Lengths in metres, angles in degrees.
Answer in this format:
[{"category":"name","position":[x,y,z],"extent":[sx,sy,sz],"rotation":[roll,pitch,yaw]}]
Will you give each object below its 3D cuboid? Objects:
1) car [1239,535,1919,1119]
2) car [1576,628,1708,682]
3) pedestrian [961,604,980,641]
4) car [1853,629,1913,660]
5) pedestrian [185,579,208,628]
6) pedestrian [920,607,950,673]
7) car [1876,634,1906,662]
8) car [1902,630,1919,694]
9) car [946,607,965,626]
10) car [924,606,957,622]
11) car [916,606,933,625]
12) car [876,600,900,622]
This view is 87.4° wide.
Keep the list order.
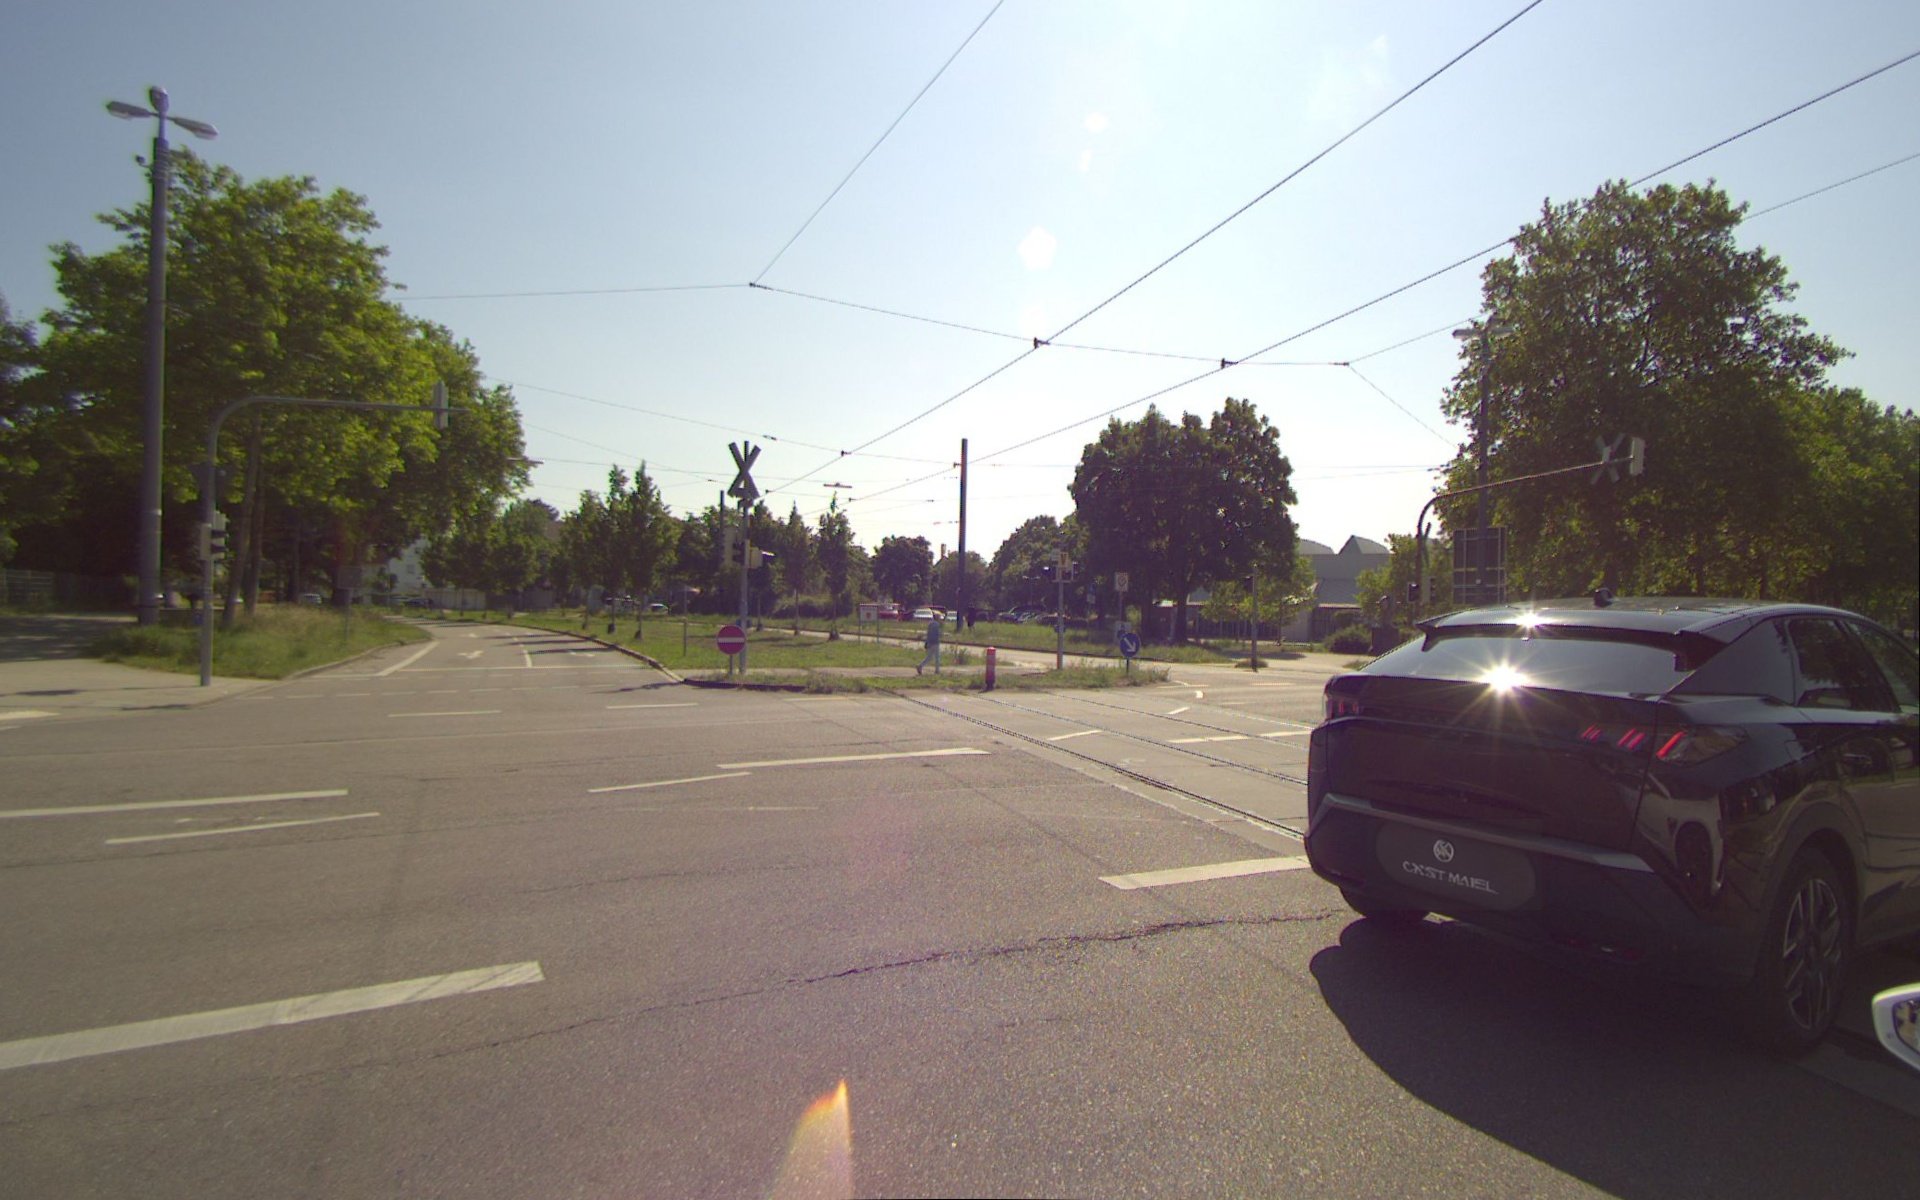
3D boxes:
[{"category":"car","position":[3.634,0.745,4.916],"extent":[4.386,1.719,1.862],"rotation":[3,-1,-32]},{"category":"car","position":[20.873,1.644,30.702],"extent":[4.611,1.528,1.684],"rotation":[1,-1,-33]},{"category":"pedestrian","position":[0.567,1.248,55.919],"extent":[0.784,2.040,0.708],"rotation":[1,0,41]},{"category":"car","position":[49.995,2.397,54.359],"extent":[4.393,1.610,1.696],"rotation":[1,-2,-38]},{"category":"pedestrian","position":[-33.224,0.165,43.712],"extent":[0.747,2.118,0.612],"rotation":[1,0,-36]},{"category":"pedestrian","position":[-0.608,0.968,24.521],"extent":[0.657,1.582,0.365],"rotation":[1,0,-14]},{"category":"car","position":[89.873,4.600,97.004],"extent":[2.038,2.648,7.178],"rotation":[0,-2,42]},{"category":"car","position":[25.080,1.529,24.621],"extent":[4.078,1.528,1.687],"rotation":[1,0,-28]},{"category":"car","position":[-0.397,1.347,82.826],"extent":[1.420,1.466,3.340],"rotation":[2,0,-2]},{"category":"car","position":[-2.349,1.687,121.094],"extent":[3.856,1.863,1.768],"rotation":[2,0,-7]},{"category":"car","position":[-2.913,1.253,82.508],"extent":[1.323,1.466,3.340],"rotation":[2,0,-2]},{"category":"car","position":[-5.898,0.875,82.845],"extent":[1.780,1.725,3.986],"rotation":[2,0,-2]}]
